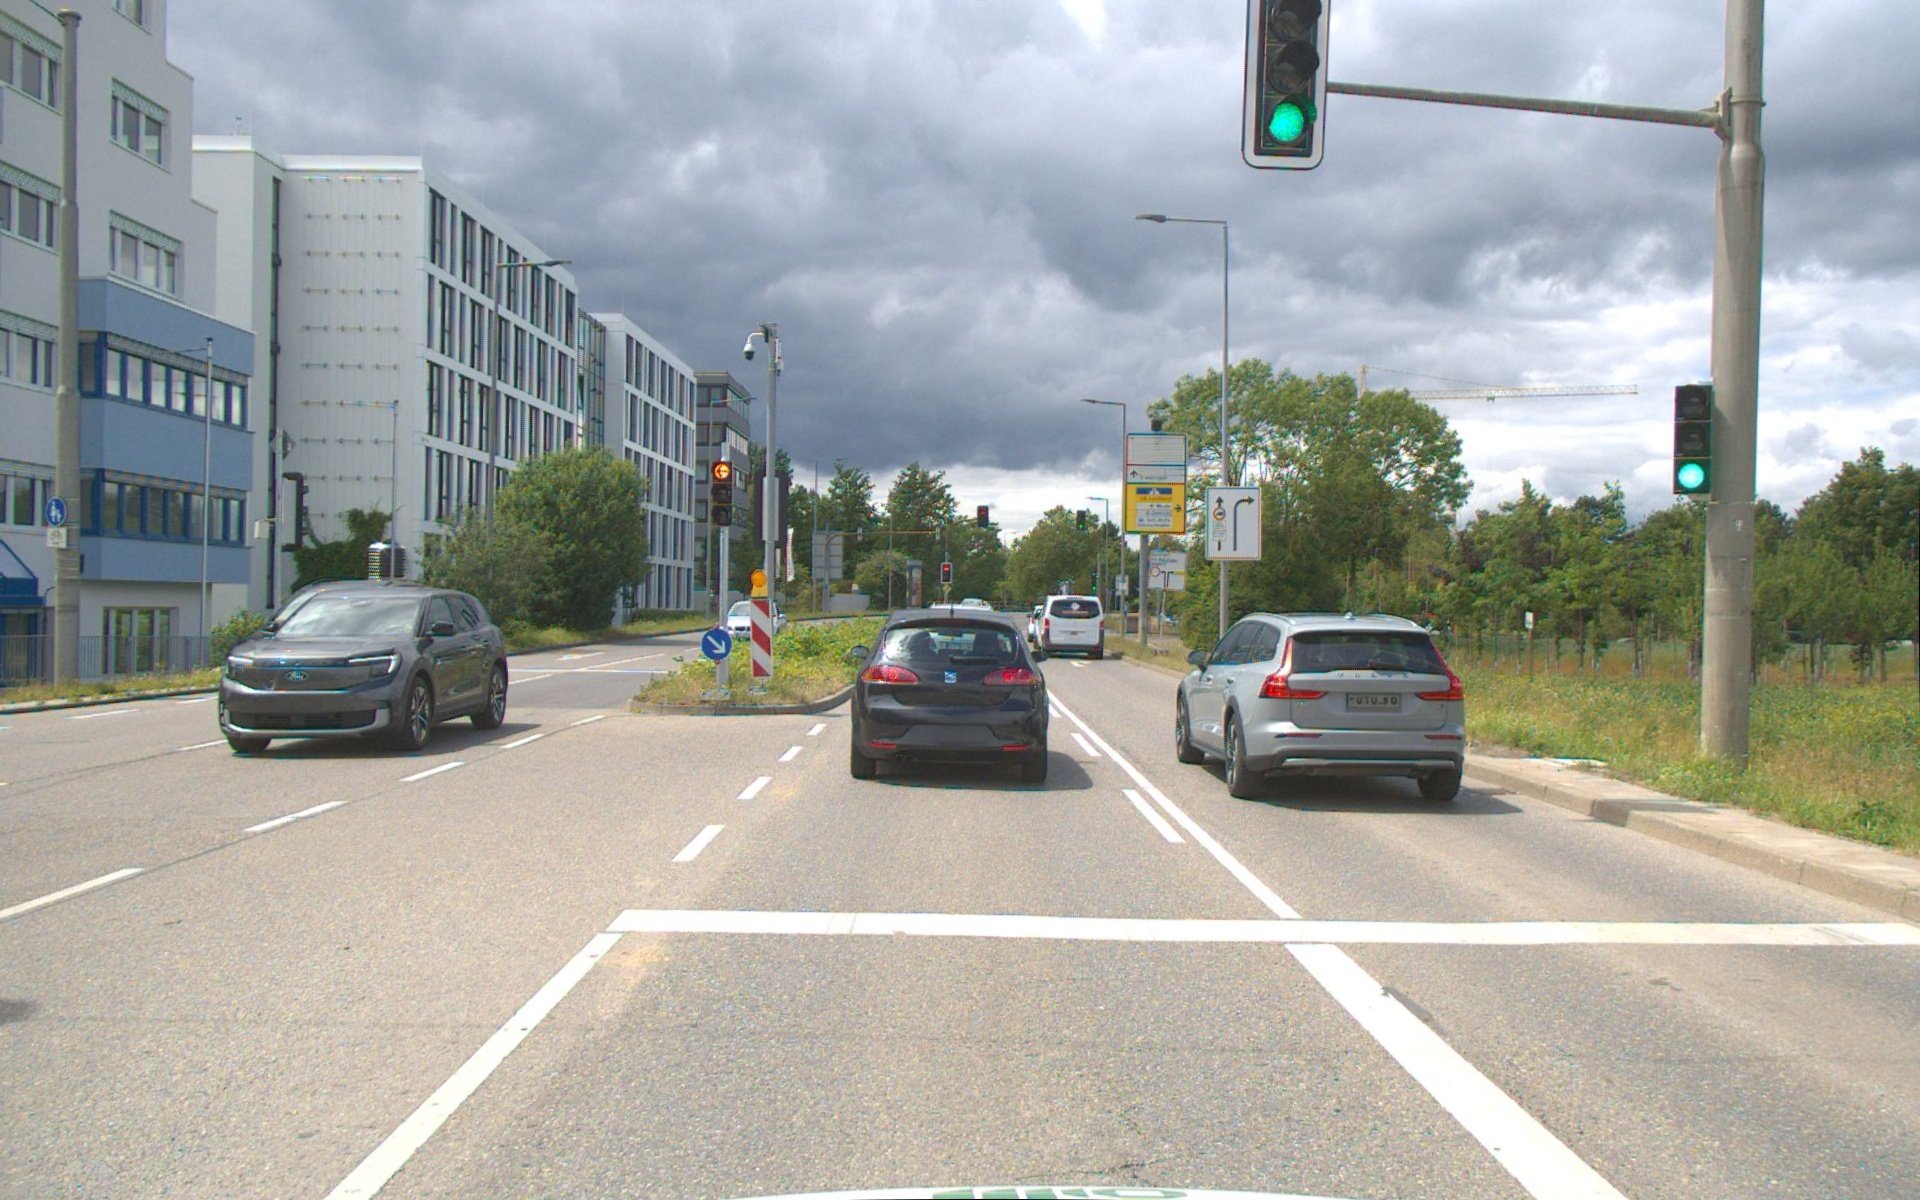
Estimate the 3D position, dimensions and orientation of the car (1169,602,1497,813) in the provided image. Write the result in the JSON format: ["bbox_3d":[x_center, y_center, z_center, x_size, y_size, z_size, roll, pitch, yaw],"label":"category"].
[{"bbox_3d":[3.066,0.807,14.568,1.825,1.545,4.445,1,0,-1],"label":"car"}]

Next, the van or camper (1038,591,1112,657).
[{"bbox_3d":[3.473,0.714,50.885,1.952,1.892,4.944,1,0,1],"label":"van or camper"}]

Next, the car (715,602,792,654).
[{"bbox_3d":[-6.149,0.800,49.563,1.755,1.473,4.421,1,0,0],"label":"car"}]

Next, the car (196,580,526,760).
[{"bbox_3d":[-6.105,0.649,17.453,1.953,1.646,4.305,1,0,-1],"label":"car"}]

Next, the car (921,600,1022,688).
[{"bbox_3d":[0.199,0.764,30.483,1.737,1.517,3.582,1,0,0],"label":"car"}]

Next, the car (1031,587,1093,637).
[{"bbox_3d":[3.582,0.421,58.694,1.953,1.660,4.000,1,0,0],"label":"car"}]

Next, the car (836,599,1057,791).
[{"bbox_3d":[-0.044,0.765,15.190,1.736,1.477,3.583,2,0,2],"label":"car"}]

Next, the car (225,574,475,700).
[{"bbox_3d":[-9.207,0.513,25.451,1.952,1.732,4.761,1,0,2],"label":"car"}]
